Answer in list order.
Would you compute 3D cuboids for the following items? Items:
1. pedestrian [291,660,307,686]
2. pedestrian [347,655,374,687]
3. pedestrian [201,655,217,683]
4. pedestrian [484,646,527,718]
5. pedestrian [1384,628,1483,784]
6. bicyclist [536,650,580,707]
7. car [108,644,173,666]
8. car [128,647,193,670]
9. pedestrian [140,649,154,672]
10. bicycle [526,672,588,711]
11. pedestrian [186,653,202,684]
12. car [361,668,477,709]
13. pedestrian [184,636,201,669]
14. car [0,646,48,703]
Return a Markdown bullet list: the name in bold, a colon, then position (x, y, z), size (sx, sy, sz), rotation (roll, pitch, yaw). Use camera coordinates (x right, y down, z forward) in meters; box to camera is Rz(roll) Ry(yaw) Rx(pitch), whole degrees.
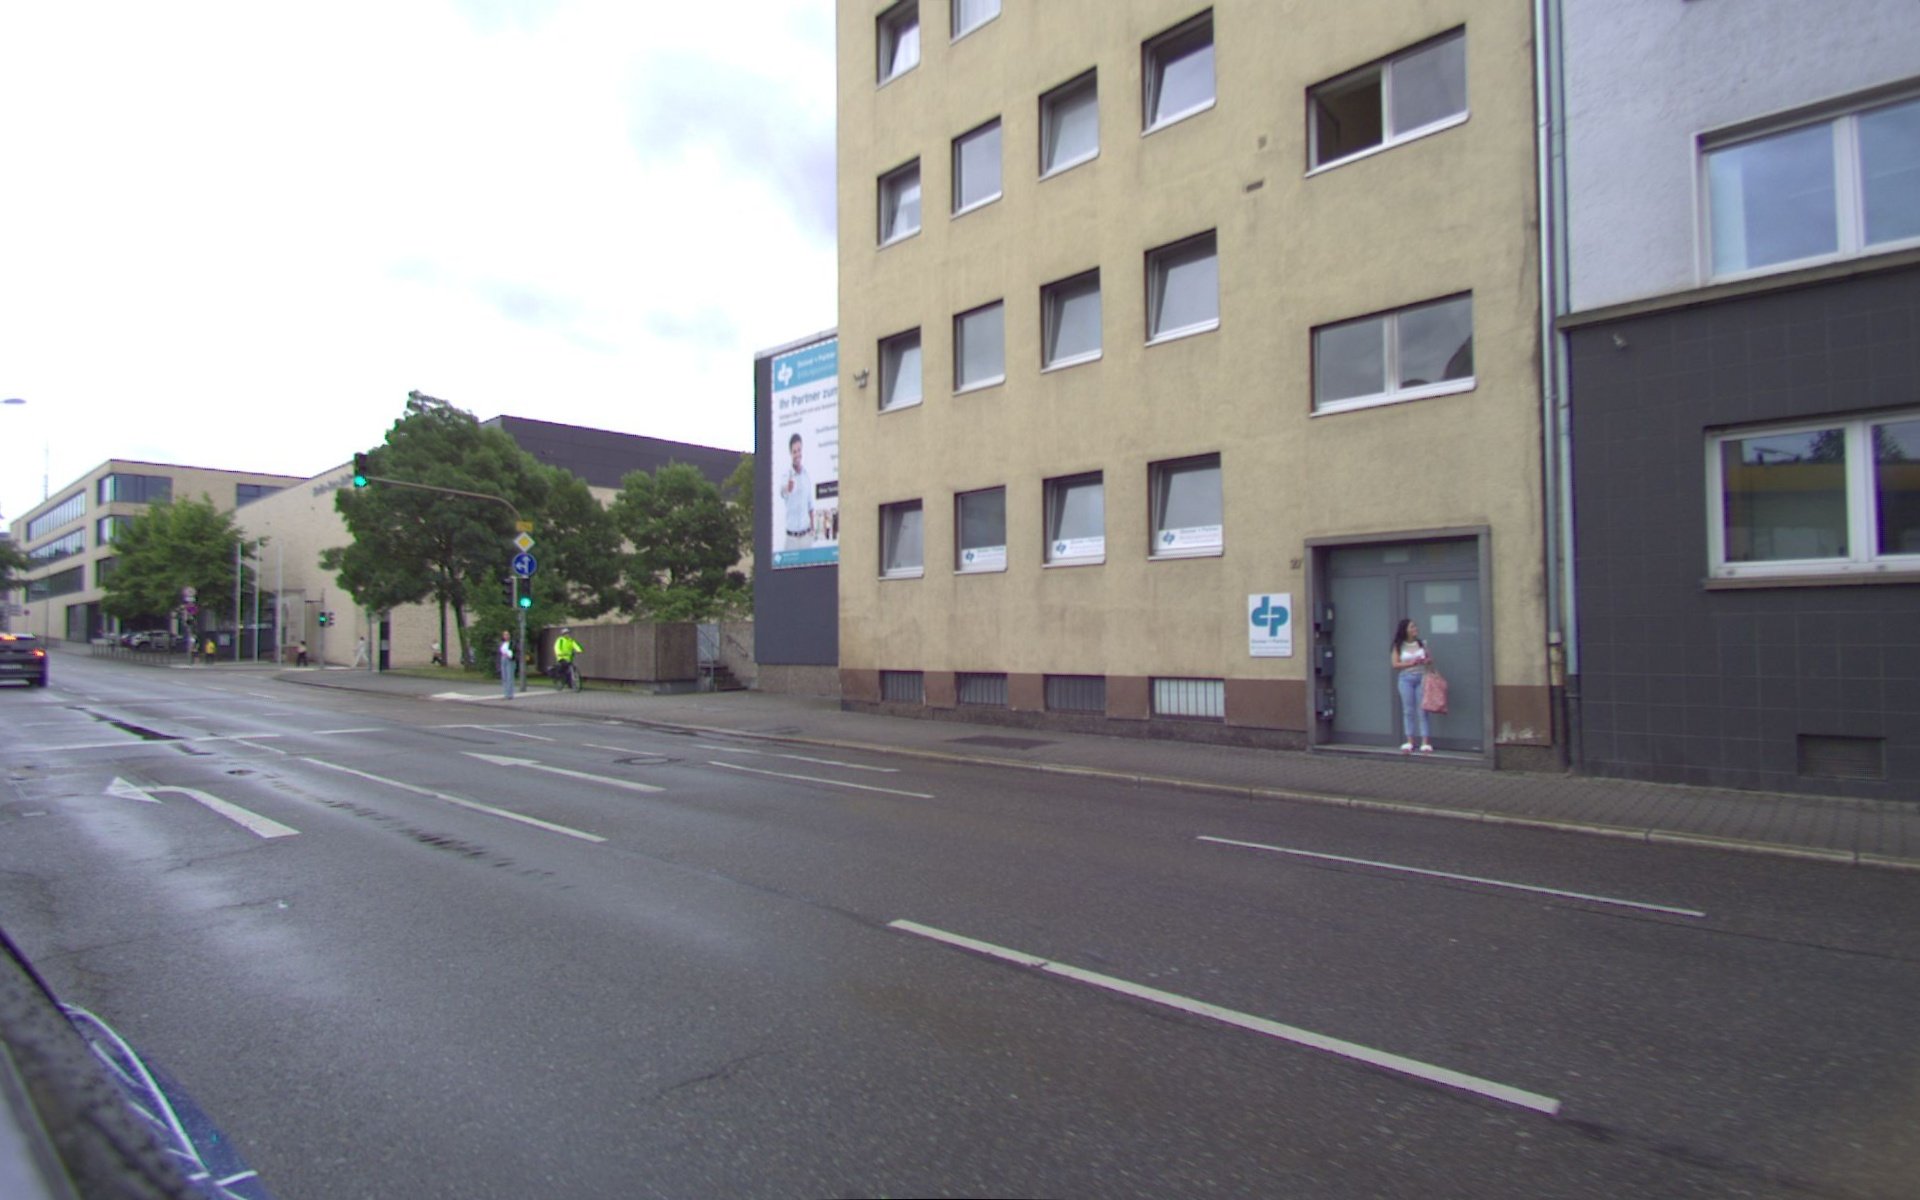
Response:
- **pedestrian**: position (-36.265, 3.983, 55.523), size (0.475, 1.386, 0.614), rotation (-2, -1, 43)
- **pedestrian**: position (-33.047, 3.895, 55.786), size (0.807, 1.713, 1.099), rotation (-2, -1, 40)
- **pedestrian**: position (-42.436, 3.902, 57.202), size (0.692, 1.528, 0.588), rotation (-2, -1, 42)
- **pedestrian**: position (-11.280, 2.008, 25.104), size (0.811, 1.702, 0.709), rotation (-2, -1, 45)
- **pedestrian**: position (5.496, 1.194, 11.743), size (0.811, 1.702, 0.709), rotation (-2, -1, 45)
- **bicyclist**: position (-10.681, 2.065, 26.899), size (0.813, 1.453, 0.832), rotation (-2, -1, 45)
- **car**: position (-66.470, 4.411, 82.127), size (3.940, 1.597, 2.002), rotation (-1, -1, -44)
- **car**: position (-64.032, 4.682, 81.078), size (3.940, 1.597, 2.002), rotation (-1, -1, -44)
- **pedestrian**: position (-62.231, 4.618, 77.476), size (0.792, 1.660, 0.977), rotation (0, -1, -41)
- **bicycle**: position (-10.730, 2.412, 26.925), size (1.867, 0.914, 0.875), rotation (-2, -1, 45)
- **pedestrian**: position (-43.625, 3.886, 57.632), size (0.691, 1.744, 0.588), rotation (-2, -1, 38)
- **car**: position (-27.526, 4.521, 51.650), size (1.998, 1.940, 4.728), rotation (-2, -6, 40)
- **pedestrian**: position (-42.023, 2.877, 55.409), size (0.692, 1.785, 0.588), rotation (-2, -1, 42)
- **car**: position (-29.099, 2.221, 30.696), size (4.296, 1.607, 1.787), rotation (-2, -3, 44)
